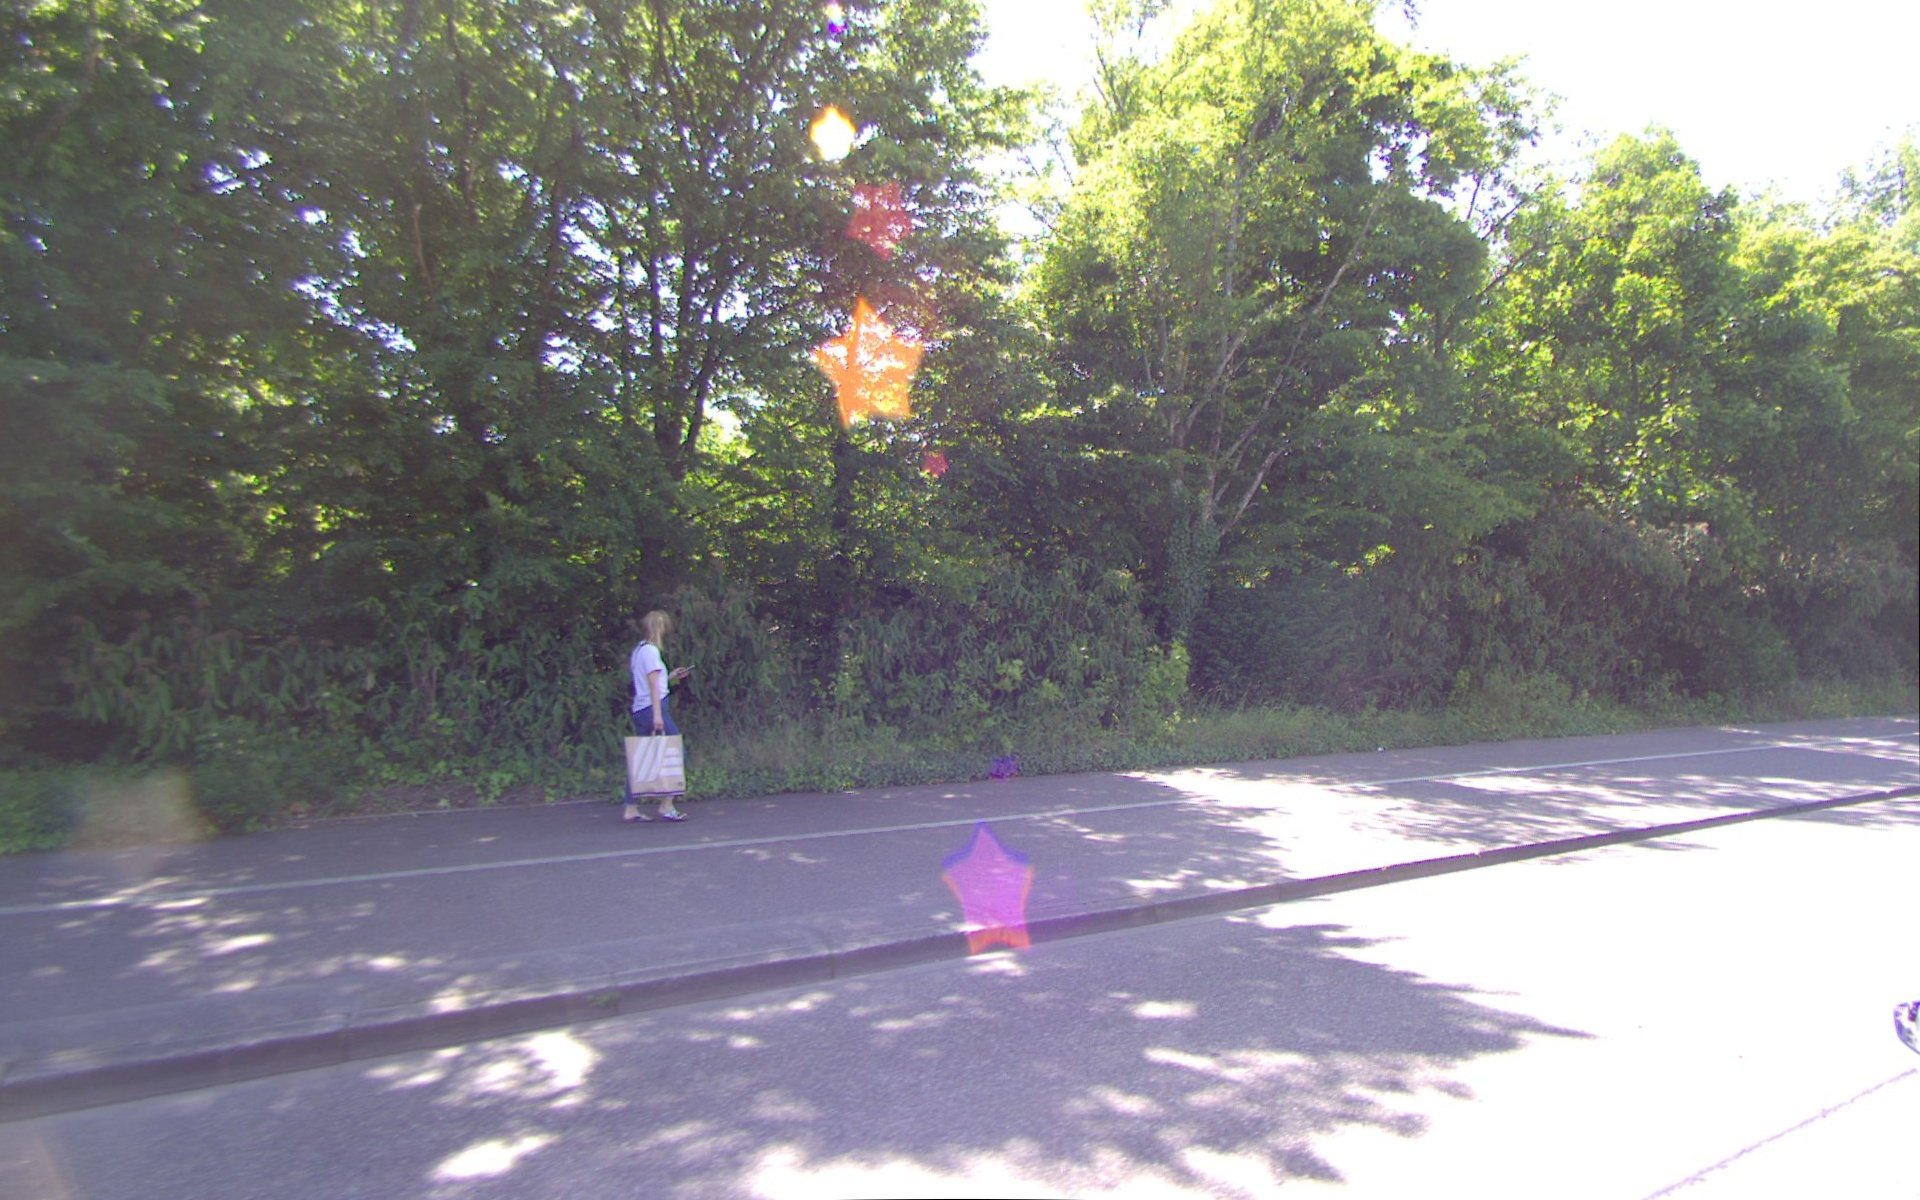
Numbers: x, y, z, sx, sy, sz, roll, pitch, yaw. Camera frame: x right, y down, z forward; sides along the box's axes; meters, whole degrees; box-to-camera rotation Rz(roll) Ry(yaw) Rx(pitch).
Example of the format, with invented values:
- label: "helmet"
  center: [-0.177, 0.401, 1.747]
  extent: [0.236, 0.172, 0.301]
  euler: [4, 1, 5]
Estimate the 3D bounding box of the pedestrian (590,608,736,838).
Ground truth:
- label: "pedestrian"
  center: [-2.308, 0.897, 7.772]
  extent: [0.875, 1.634, 0.928]
  euler: [1, -2, -30]
